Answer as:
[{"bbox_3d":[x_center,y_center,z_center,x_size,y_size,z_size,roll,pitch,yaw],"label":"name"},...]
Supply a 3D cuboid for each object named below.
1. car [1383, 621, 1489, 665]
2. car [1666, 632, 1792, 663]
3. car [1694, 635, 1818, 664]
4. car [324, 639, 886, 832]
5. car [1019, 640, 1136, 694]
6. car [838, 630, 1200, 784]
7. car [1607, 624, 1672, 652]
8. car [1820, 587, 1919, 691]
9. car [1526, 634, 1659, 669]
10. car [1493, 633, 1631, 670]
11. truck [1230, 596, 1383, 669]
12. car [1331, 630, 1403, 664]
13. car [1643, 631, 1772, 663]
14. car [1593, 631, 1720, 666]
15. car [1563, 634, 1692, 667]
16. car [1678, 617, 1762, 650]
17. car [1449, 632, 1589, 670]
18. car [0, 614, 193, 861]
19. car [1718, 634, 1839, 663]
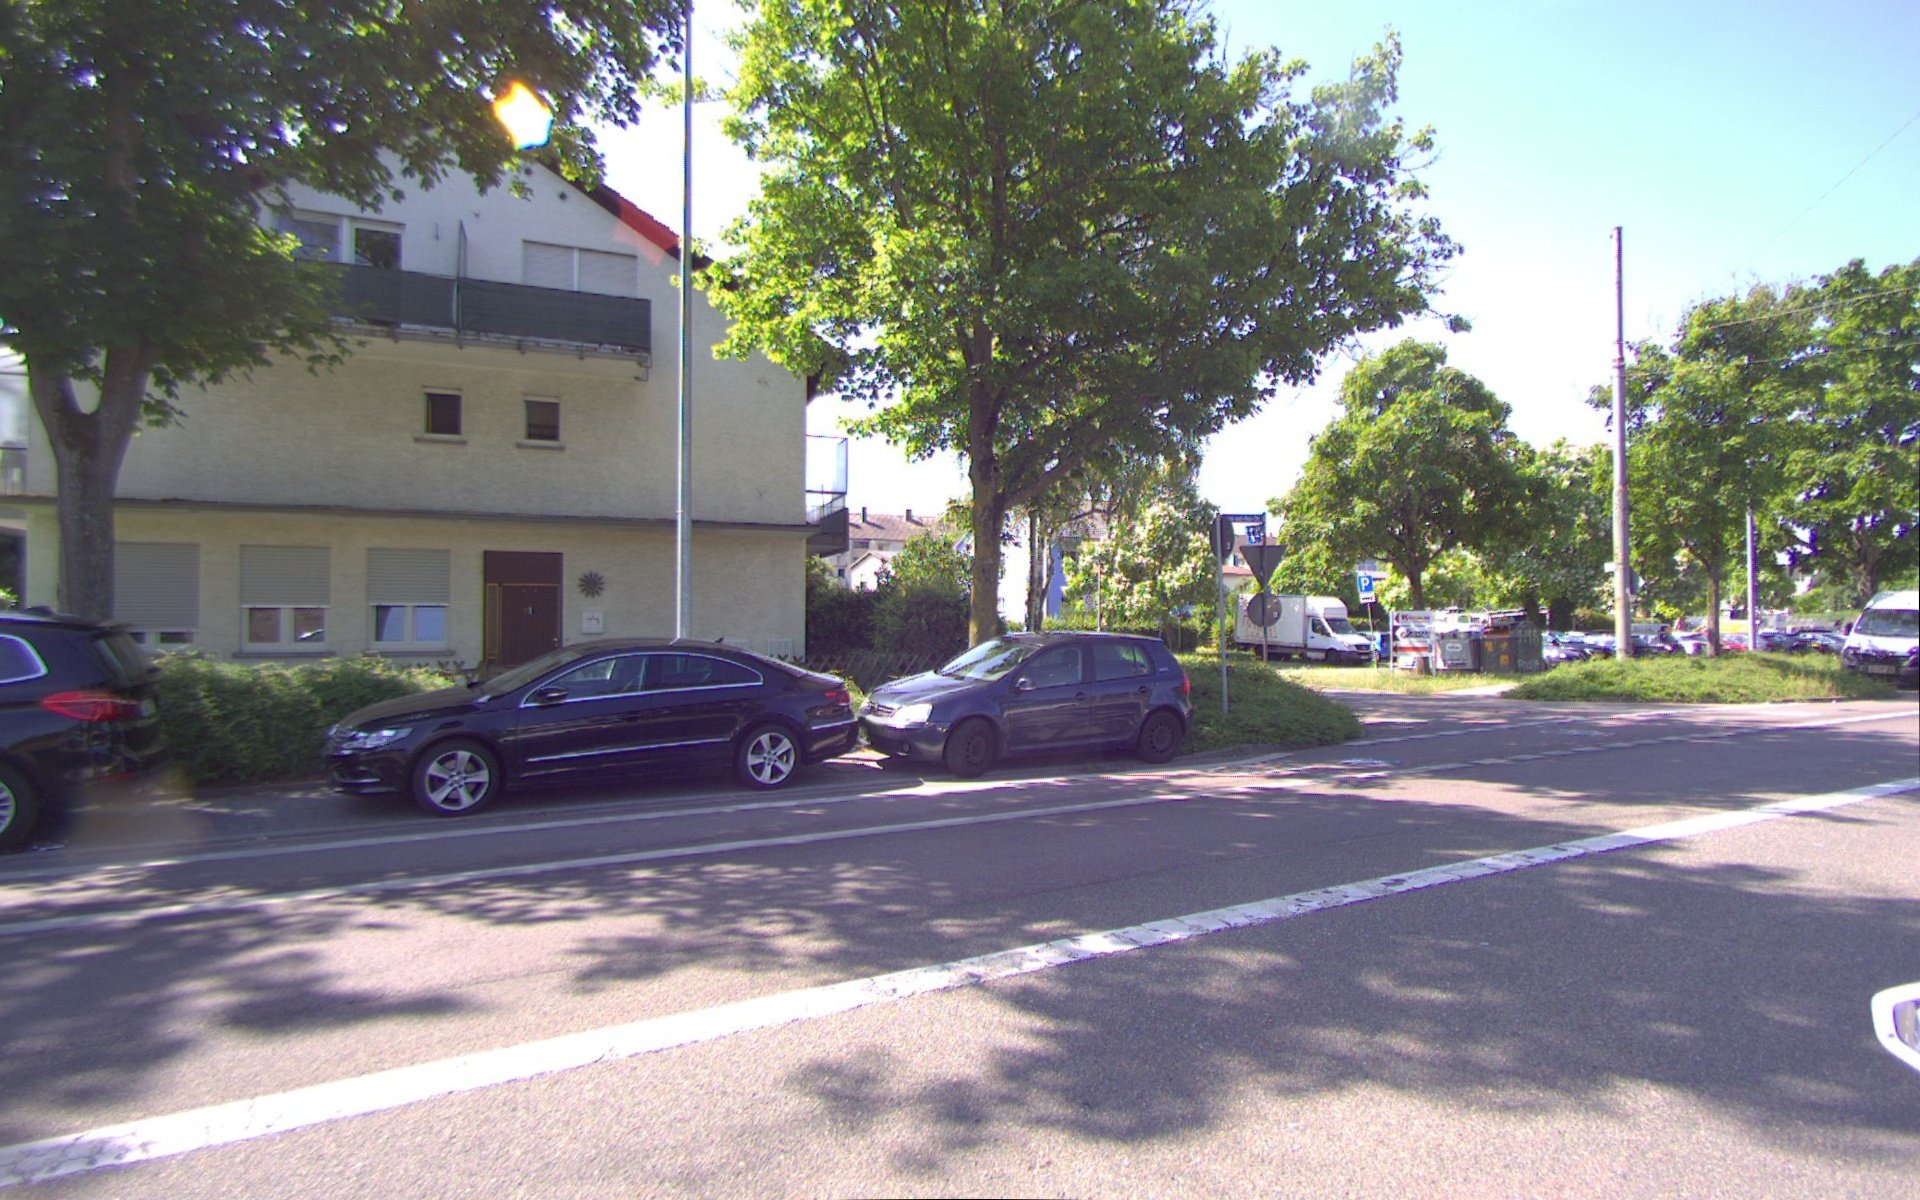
[{"bbox_3d":[25.068,2.238,53.080,1.980,2.040,4.663,2,0,-34],"label":"car"},{"bbox_3d":[33.254,2.018,43.536,1.748,1.241,3.973,1,-2,-27],"label":"car"},{"bbox_3d":[35.399,2.173,44.774,1.748,1.241,3.973,1,-2,-27],"label":"car"},{"bbox_3d":[-3.180,1.098,9.523,4.726,1.398,1.682,1,-1,-31],"label":"car"},{"bbox_3d":[3.377,1.924,29.625,1.687,1.437,3.979,1,-2,-23],"label":"car"},{"bbox_3d":[0.735,1.130,11.710,3.955,1.470,1.634,1,0,-29],"label":"car"},{"bbox_3d":[47.086,2.604,69.643,1.535,1.901,3.406,1,-2,-31],"label":"car"},{"bbox_3d":[25.901,0.981,26.989,6.227,2.534,2.050,1,1,-28],"label":"car"},{"bbox_3d":[23.904,1.914,38.105,1.748,1.241,3.973,1,-2,-27],"label":"car"},{"bbox_3d":[21.801,1.829,36.538,1.751,1.241,3.967,1,-2,-31],"label":"car"},{"bbox_3d":[16.345,1.427,47.960,2.206,3.059,7.103,1,1,-31],"label":"truck"},{"bbox_3d":[20.531,2.337,50.751,1.537,1.452,3.123,1,2,-25],"label":"car"},{"bbox_3d":[31.219,1.933,42.064,1.748,1.281,3.973,1,-2,-27],"label":"car"},{"bbox_3d":[28.589,1.951,41.368,1.748,1.368,3.973,1,-2,-27],"label":"car"},{"bbox_3d":[26.497,1.976,40.019,1.748,1.241,3.973,1,-2,-27],"label":"car"},{"bbox_3d":[52.750,2.292,69.768,1.980,2.040,4.228,2,0,-35],"label":"car"},{"bbox_3d":[19.514,1.749,35.206,1.751,1.241,3.967,1,-2,-31],"label":"car"},{"bbox_3d":[-8.232,0.903,6.611,4.837,1.627,1.753,1,-1,-31],"label":"car"},{"bbox_3d":[37.392,2.197,45.990,1.748,1.241,3.973,1,-2,-27],"label":"car"}]
